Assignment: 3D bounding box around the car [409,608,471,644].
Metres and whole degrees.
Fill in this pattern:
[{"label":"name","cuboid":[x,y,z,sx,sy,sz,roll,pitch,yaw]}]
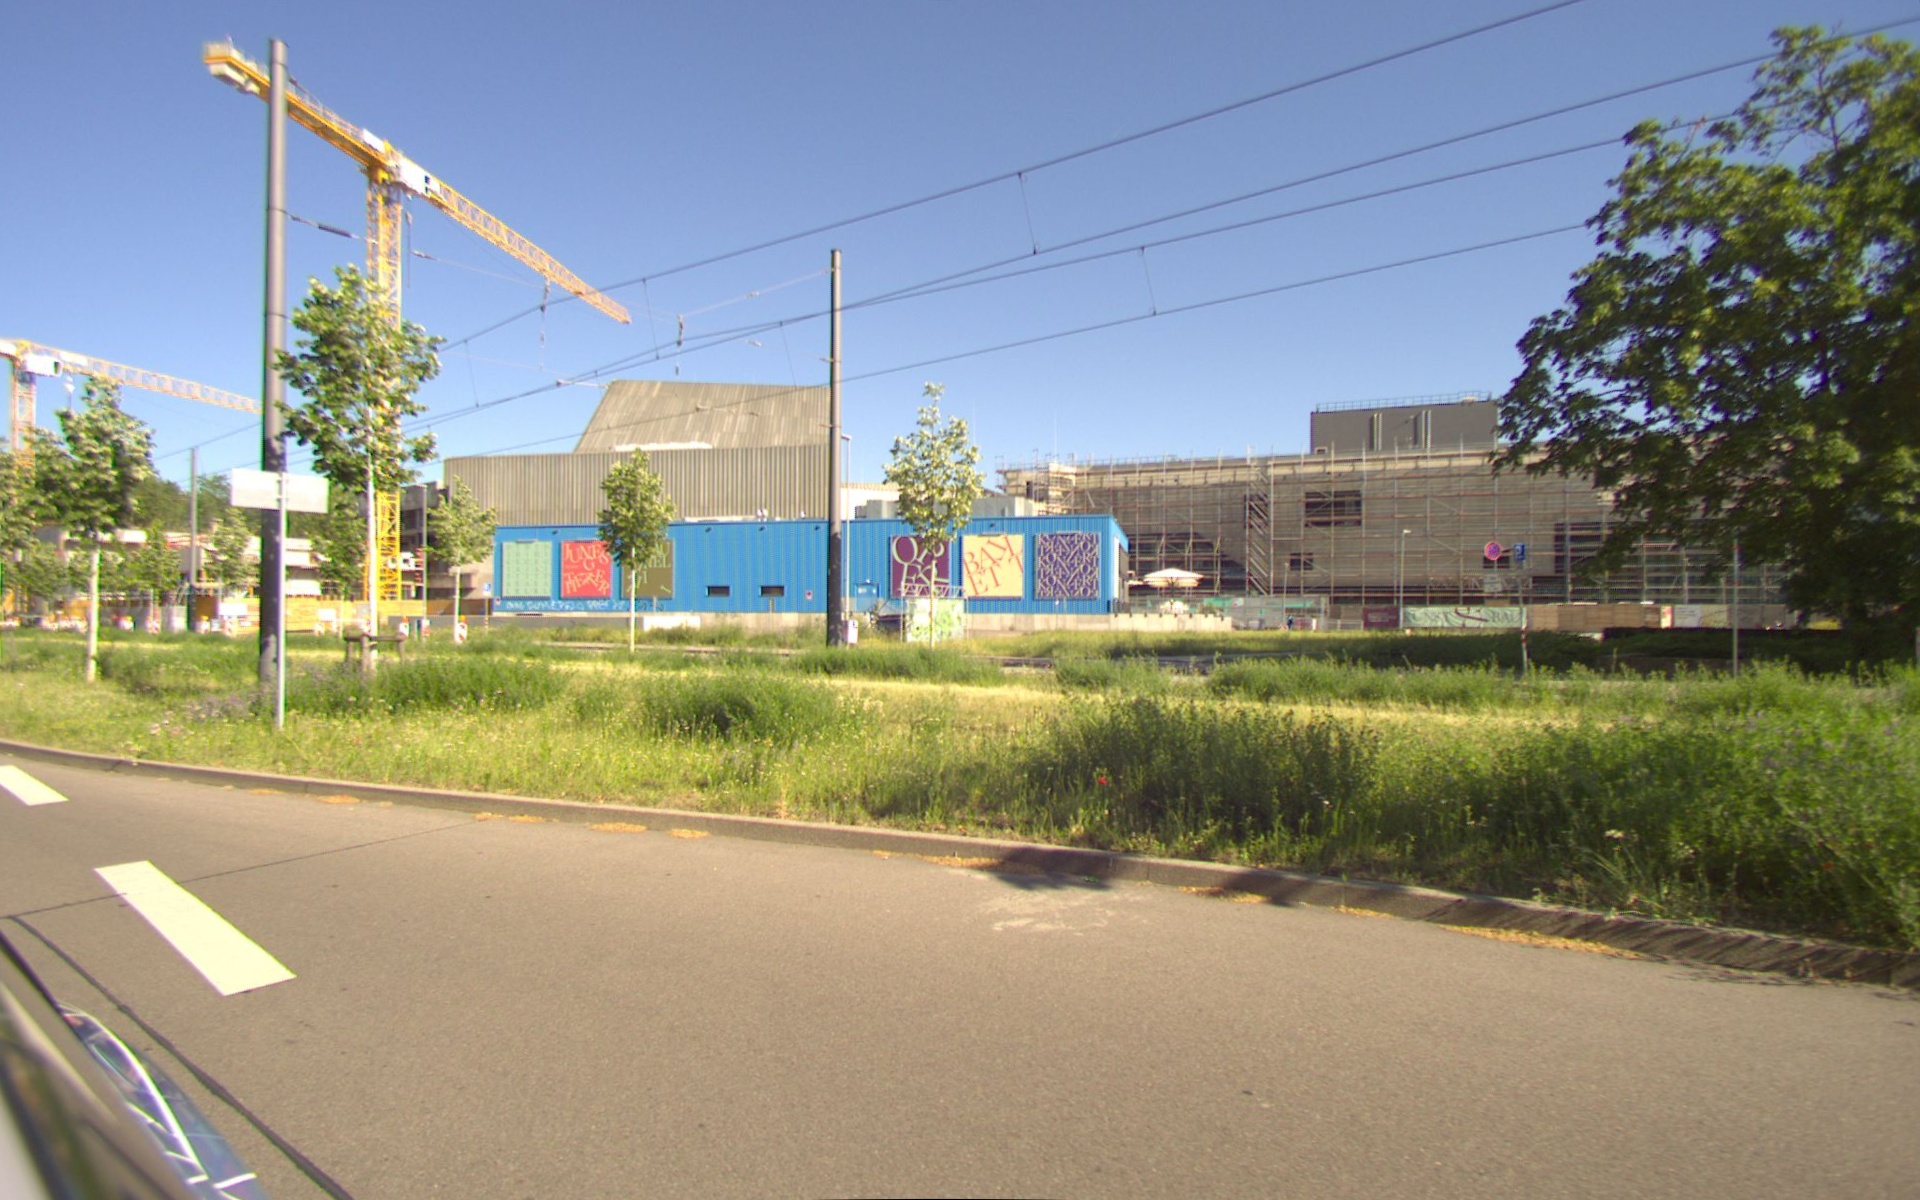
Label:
[{"label":"car","cuboid":[-29.009,1.420,56.434,4.000,1.811,1.778,0,1,42]}]
